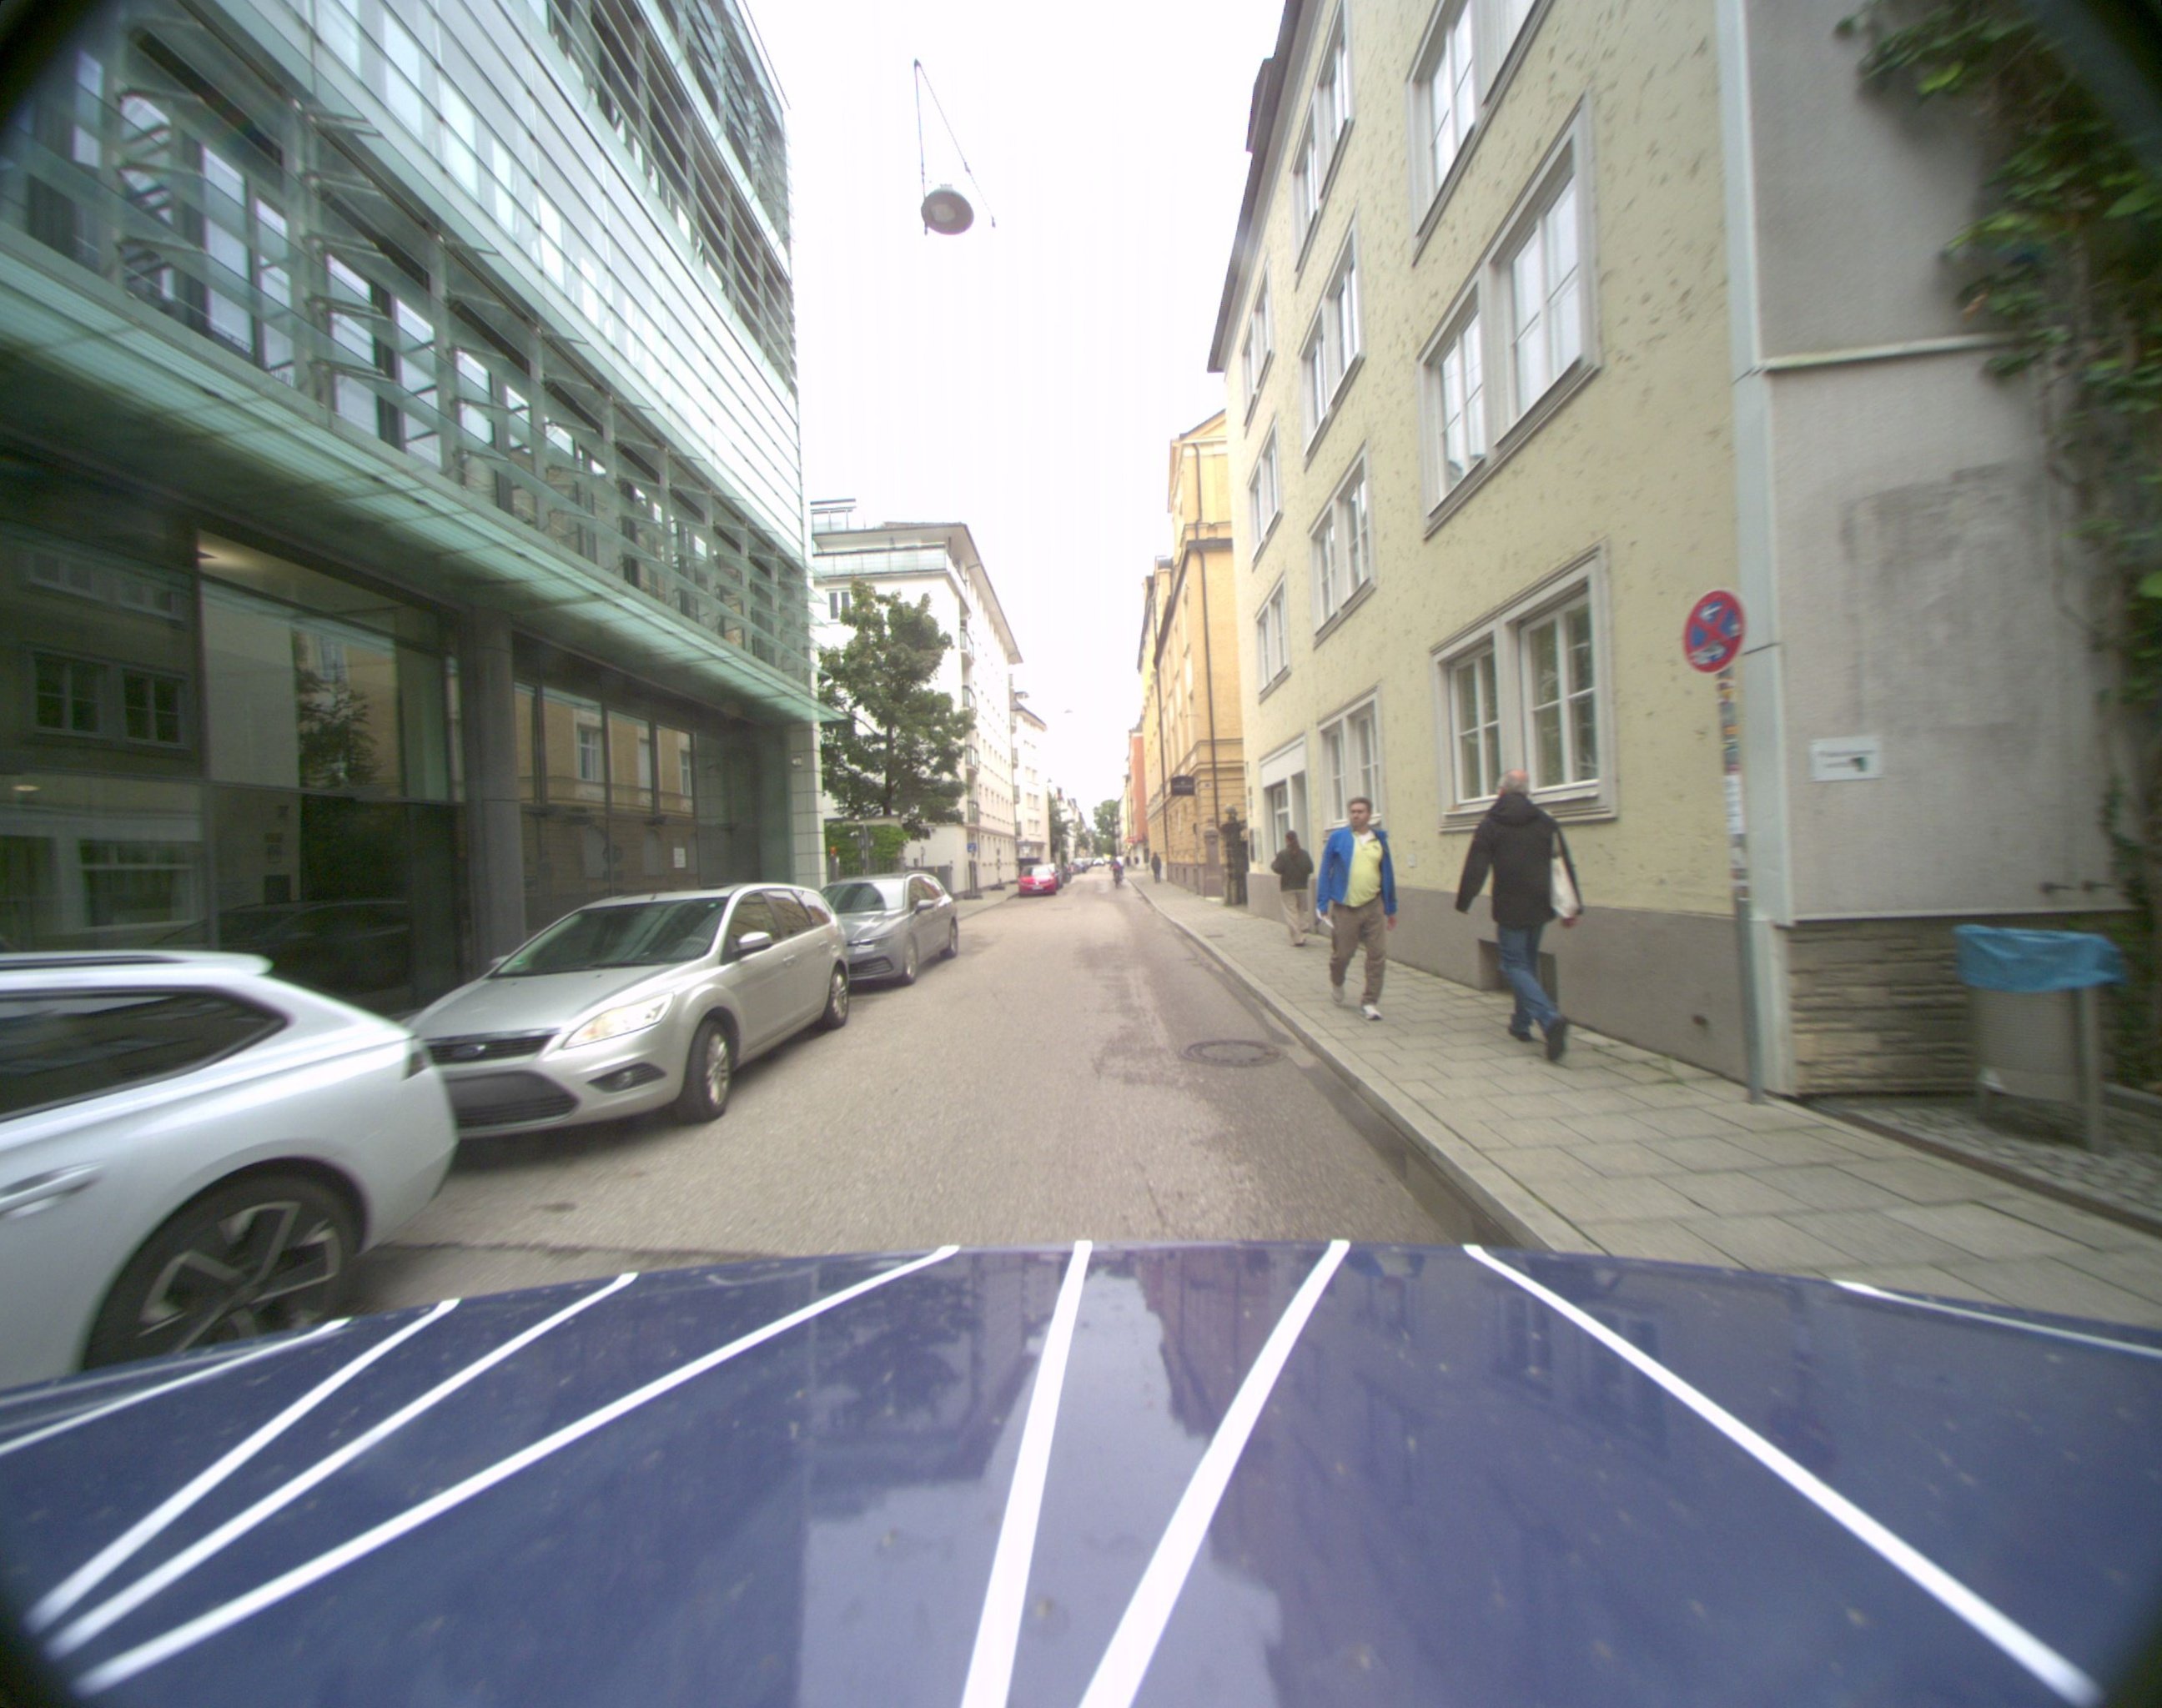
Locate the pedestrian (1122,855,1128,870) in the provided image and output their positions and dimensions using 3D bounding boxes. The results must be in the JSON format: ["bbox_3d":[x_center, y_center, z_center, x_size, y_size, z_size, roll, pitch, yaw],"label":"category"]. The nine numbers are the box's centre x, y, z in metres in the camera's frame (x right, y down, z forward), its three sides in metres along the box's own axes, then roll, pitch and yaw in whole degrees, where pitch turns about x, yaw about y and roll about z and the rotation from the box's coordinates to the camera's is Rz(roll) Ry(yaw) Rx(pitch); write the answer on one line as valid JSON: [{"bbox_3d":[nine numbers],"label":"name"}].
[{"bbox_3d":[5.660,1.112,97.975,0.635,2.002,0.788,-2,0,3],"label":"pedestrian"}]

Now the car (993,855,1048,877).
[{"bbox_3d":[-5.561,1.089,70.065,4.676,1.880,1.935,-2,0,10],"label":"car"}]

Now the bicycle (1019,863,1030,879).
[{"bbox_3d":[-4.358,1.310,58.579,0.399,1.197,1.503,-1,1,-23],"label":"bicycle"}]

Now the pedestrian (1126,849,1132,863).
[{"bbox_3d":[6.211,0.280,97.602,0.699,1.783,0.763,-2,1,3],"label":"pedestrian"}]

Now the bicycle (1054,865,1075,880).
[{"bbox_3d":[-1.196,1.301,54.092,1.441,1.037,0.360,-1,1,10],"label":"bicycle"}]

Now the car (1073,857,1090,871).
[{"bbox_3d":[0.049,1.092,83.672,1.653,1.390,4.000,-2,0,2],"label":"car"}]

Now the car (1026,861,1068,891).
[{"bbox_3d":[-1.874,1.203,42.629,1.799,1.430,4.384,-4,0,3],"label":"car"}]

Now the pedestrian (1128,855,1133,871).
[{"bbox_3d":[6.366,1.163,97.995,0.635,2.002,0.788,-2,0,3],"label":"pedestrian"}]

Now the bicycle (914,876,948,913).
[{"bbox_3d":[-5.227,1.407,26.526,0.709,1.190,1.835,-3,-3,3],"label":"bicycle"}]

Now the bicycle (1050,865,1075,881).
[{"bbox_3d":[-1.276,1.305,52.377,1.706,1.037,0.360,-1,1,3],"label":"bicycle"}]

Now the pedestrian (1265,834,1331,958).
[{"bbox_3d":[3.090,0.580,10.862,0.648,1.666,0.724,-4,0,1],"label":"pedestrian"}]

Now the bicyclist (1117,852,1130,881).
[{"bbox_3d":[2.462,0.698,43.913,0.661,1.633,0.895,-3,0,1],"label":"bicyclist"}]

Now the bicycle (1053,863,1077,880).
[{"bbox_3d":[-1.188,1.315,55.764,1.699,1.154,0.378,-3,0,1],"label":"bicycle"}]

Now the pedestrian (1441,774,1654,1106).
[{"bbox_3d":[2.945,0.501,4.949,0.869,1.870,1.136,-4,0,19],"label":"pedestrian"}]

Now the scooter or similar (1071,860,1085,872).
[{"bbox_3d":[-0.266,1.199,75.854,1.340,1.207,0.344,-2,1,5],"label":"scooter or similar"}]

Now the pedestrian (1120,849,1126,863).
[{"bbox_3d":[5.406,0.303,97.533,0.726,1.783,0.830,-2,1,2],"label":"pedestrian"}]

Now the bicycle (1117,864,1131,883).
[{"bbox_3d":[2.492,1.141,44.137,0.663,1.033,2.005,-3,0,2],"label":"bicycle"}]

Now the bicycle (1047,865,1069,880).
[{"bbox_3d":[-1.617,1.311,53.769,1.520,1.037,0.360,-1,1,10],"label":"bicycle"}]

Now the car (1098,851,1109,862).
[{"bbox_3d":[3.969,0.425,135.249,1.929,1.794,4.444,-3,0,2],"label":"car"}]

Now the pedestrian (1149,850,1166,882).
[{"bbox_3d":[4.133,0.667,41.271,0.714,1.656,0.930,-6,0,2],"label":"pedestrian"}]

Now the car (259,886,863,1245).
[{"bbox_3d":[-3.158,1.125,5.861,1.712,1.459,4.236,-5,0,-1],"label":"car"}]

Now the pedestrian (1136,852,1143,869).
[{"bbox_3d":[5.733,0.623,74.613,0.613,1.684,0.566,-2,1,1],"label":"pedestrian"}]

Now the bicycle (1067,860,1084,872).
[{"bbox_3d":[-0.573,1.206,77.266,1.607,1.207,0.529,-2,1,5],"label":"bicycle"}]

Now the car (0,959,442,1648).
[{"bbox_3d":[-3.391,1.171,0.634,1.712,1.405,4.510,-5,0,2],"label":"car"}]

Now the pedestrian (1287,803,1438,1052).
[{"bbox_3d":[2.282,0.564,6.306,0.759,1.843,1.077,-4,0,2],"label":"pedestrian"}]

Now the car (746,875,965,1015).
[{"bbox_3d":[-2.950,1.113,10.974,1.712,1.424,4.329,-3,0,1],"label":"car"}]

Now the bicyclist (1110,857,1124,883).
[{"bbox_3d":[1.941,0.883,41.301,0.709,1.363,0.813,-3,0,1],"label":"bicyclist"}]

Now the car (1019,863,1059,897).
[{"bbox_3d":[-2.076,1.223,37.300,1.766,1.438,4.297,-4,0,-4],"label":"car"}]

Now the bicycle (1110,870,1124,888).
[{"bbox_3d":[1.959,1.336,41.325,0.709,0.900,1.809,-3,0,2],"label":"bicycle"}]
